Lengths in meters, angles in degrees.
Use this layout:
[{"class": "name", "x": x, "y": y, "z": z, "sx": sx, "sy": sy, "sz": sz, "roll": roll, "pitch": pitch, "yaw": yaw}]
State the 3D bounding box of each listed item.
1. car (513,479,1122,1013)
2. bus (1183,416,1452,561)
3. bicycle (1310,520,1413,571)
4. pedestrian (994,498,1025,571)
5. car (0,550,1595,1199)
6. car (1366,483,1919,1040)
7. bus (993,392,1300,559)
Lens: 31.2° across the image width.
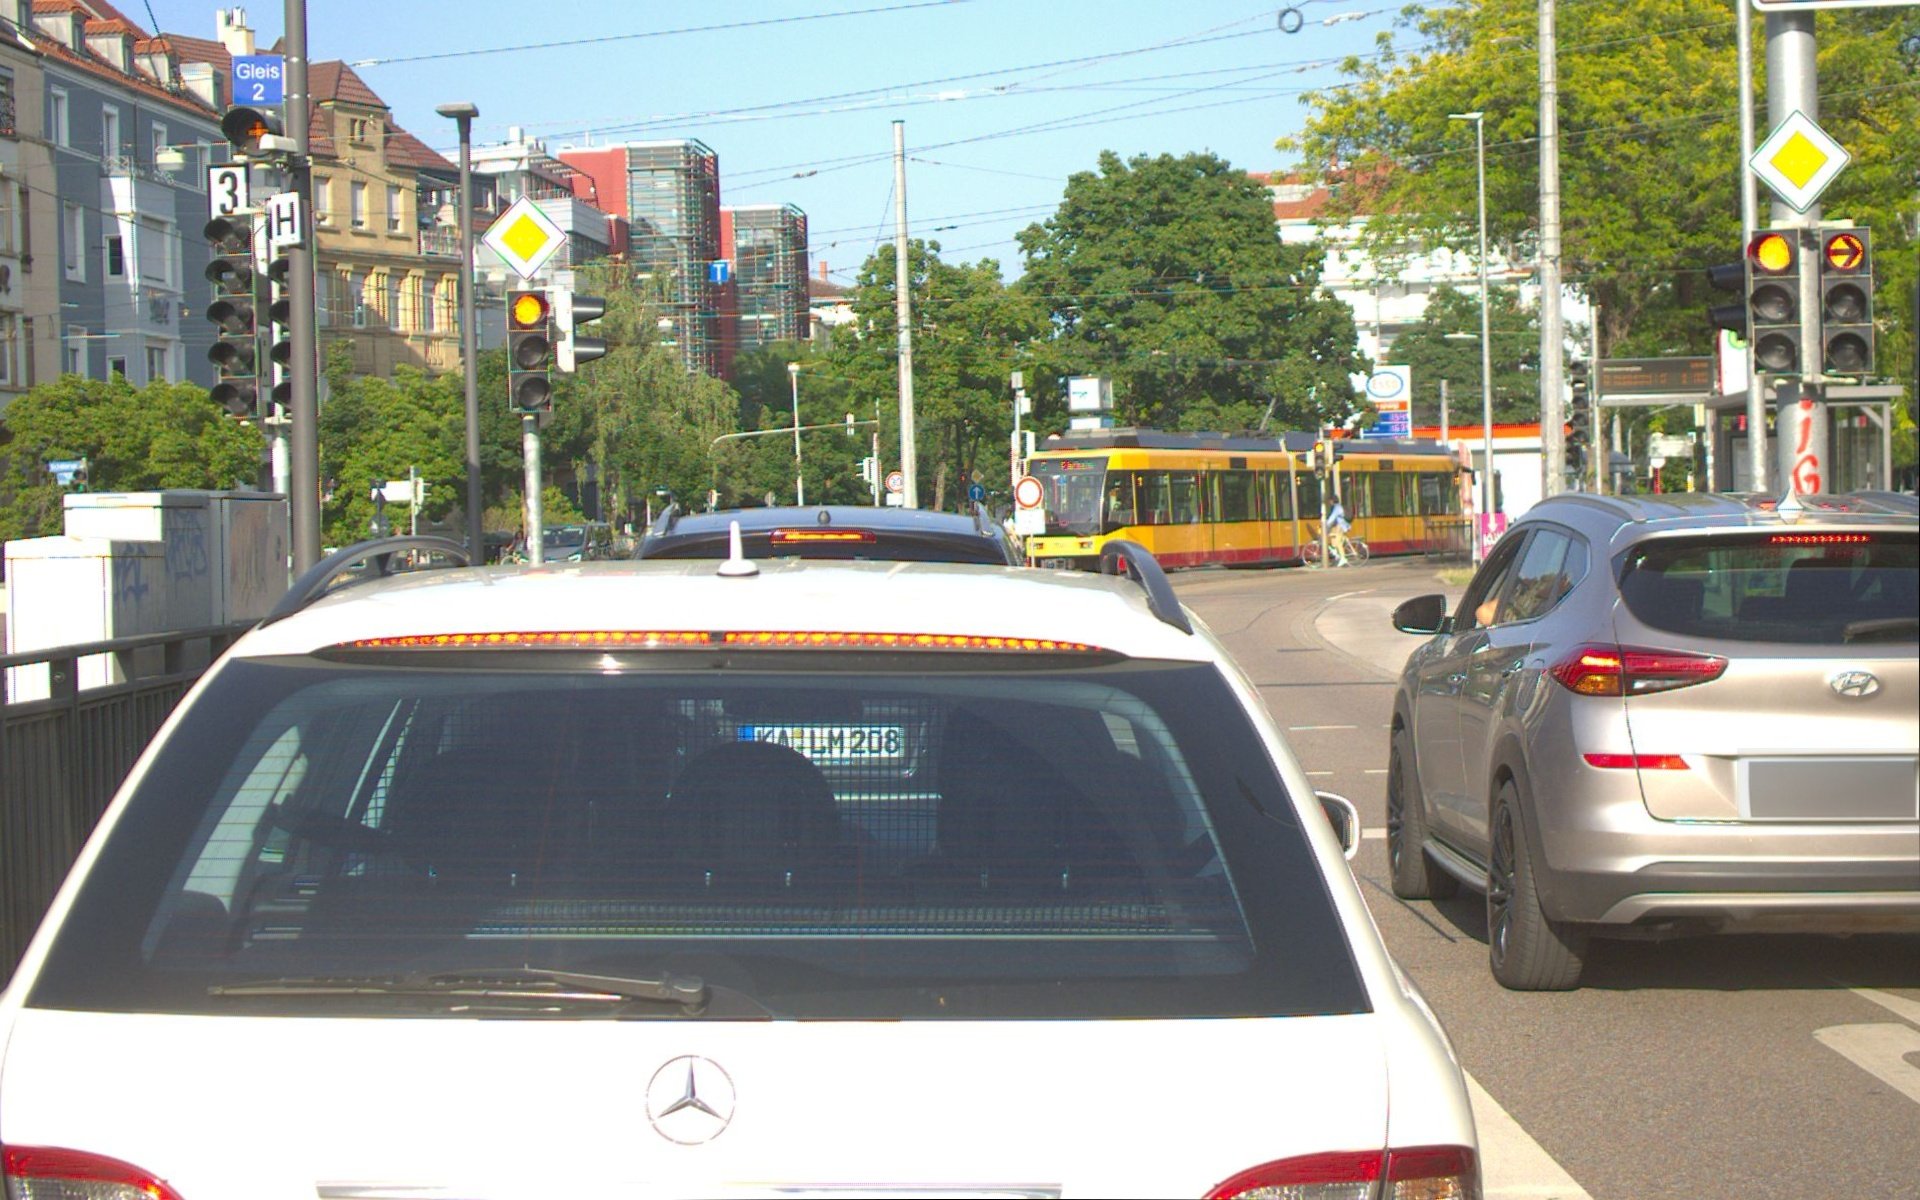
[{"class": "car", "x": -0.461, "y": 0.419, "z": 12.562, "sx": 1.885, "sy": 1.645, "sz": 3.648, "roll": 1, "pitch": 1, "yaw": 0}, {"class": "bus", "x": 9.885, "y": -2.906, "z": 93.156, "sx": 3.113, "sy": 3.593, "sz": 12.573, "roll": 1, "pitch": 1, "yaw": 26}, {"class": "bicycle", "x": 9.968, "y": -1.357, "z": 85.346, "sx": 2.483, "sy": 1.209, "sz": 0.806, "roll": -1, "pitch": 1, "yaw": 8}, {"class": "pedestrian", "x": 1.265, "y": -1.661, "z": 87.068, "sx": 0.642, "sy": 1.850, "sz": 0.551, "roll": -1, "pitch": 1, "yaw": 11}, {"class": "car", "x": -0.331, "y": 0.672, "z": 5.032, "sx": 1.796, "sy": 1.465, "sz": 3.648, "roll": 0, "pitch": 1, "yaw": -1}, {"class": "car", "x": 2.633, "y": 0.438, "z": 12.178, "sx": 1.885, "sy": 1.645, "sz": 3.648, "roll": -2, "pitch": 1, "yaw": 0}, {"class": "bus", "x": 4.664, "y": -2.828, "z": 81.840, "sx": 3.112, "sy": 3.593, "sz": 12.359, "roll": 1, "pitch": 1, "yaw": 24}]
